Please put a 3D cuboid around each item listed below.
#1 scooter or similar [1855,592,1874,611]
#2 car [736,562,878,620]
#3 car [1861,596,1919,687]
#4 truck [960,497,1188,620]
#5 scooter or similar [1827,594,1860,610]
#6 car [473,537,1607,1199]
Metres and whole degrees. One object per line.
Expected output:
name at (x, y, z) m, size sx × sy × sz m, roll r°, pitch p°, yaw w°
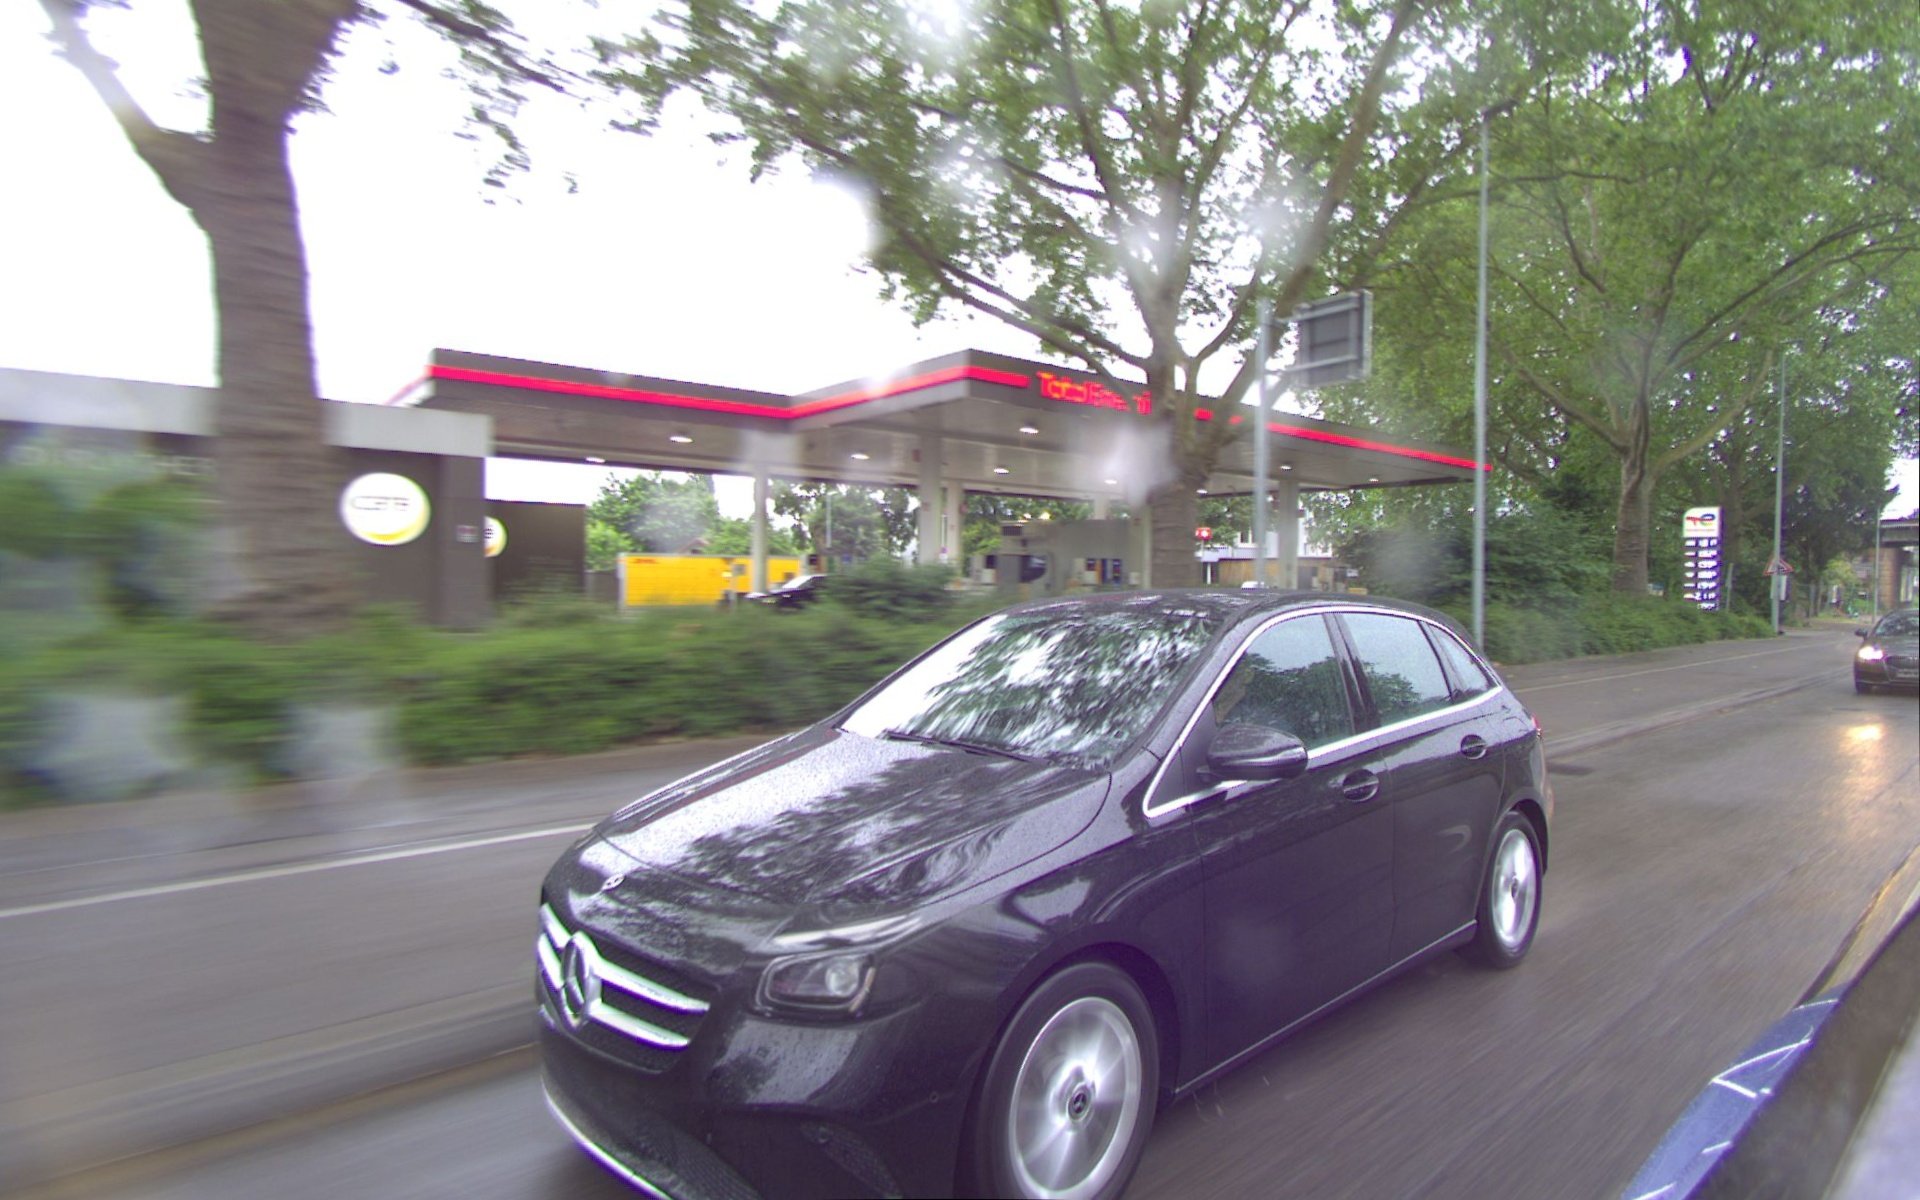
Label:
scooter or similar at (56.704, 0.073, 63.439) m, size 1.792 × 1.174 × 0.454 m, roll 0°, pitch 0°, yaw -34°
car at (-4.496, -0.270, 30.007) m, size 3.812 × 1.613 × 1.832 m, roll 0°, pitch 0°, yaw -41°
car at (16.735, 0.654, 17.104) m, size 3.714 × 1.402 × 1.641 m, roll -1°, pitch 0°, yaw -39°
truck at (3.727, -1.165, 31.445) m, size 7.638 × 3.394 × 2.697 m, roll 0°, pitch 0°, yaw -43°
scooter or similar at (54.919, 0.119, 62.927) m, size 1.705 × 1.022 × 0.454 m, roll -1°, pitch 0°, yaw -3°
car at (0.754, 0.633, 3.828) m, size 4.347 × 1.549 × 1.818 m, roll -1°, pitch 1°, yaw -43°
